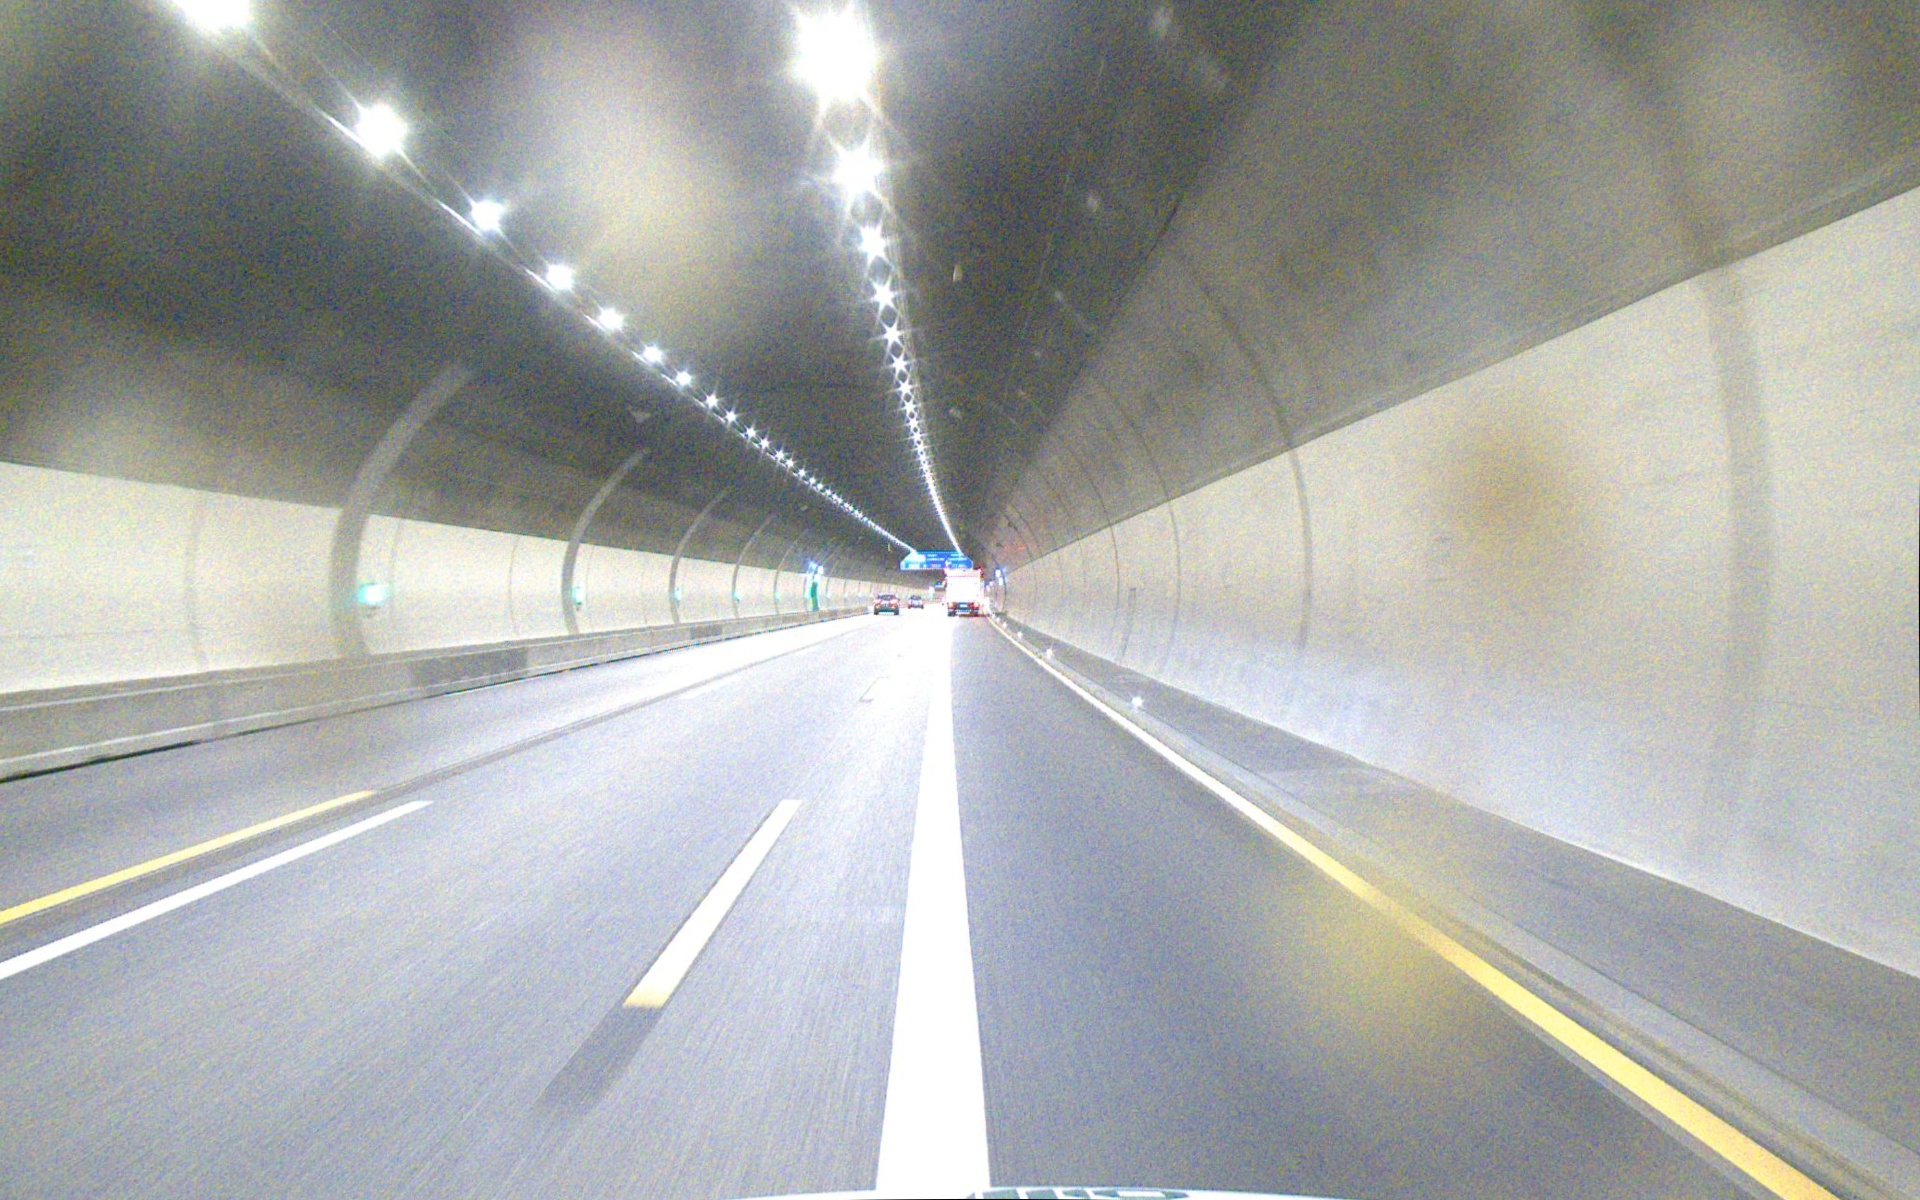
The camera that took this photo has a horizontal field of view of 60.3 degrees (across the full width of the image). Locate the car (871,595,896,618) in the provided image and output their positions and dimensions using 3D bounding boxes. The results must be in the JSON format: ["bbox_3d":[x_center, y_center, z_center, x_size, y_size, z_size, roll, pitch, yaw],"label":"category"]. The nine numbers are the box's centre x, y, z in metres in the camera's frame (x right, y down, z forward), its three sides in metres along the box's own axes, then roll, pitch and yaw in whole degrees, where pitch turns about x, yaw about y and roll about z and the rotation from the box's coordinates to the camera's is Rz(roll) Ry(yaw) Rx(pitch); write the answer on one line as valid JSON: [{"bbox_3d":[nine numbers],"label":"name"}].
[{"bbox_3d":[-5.763,0.477,125.512,1.776,1.646,3.999,1,0,-2],"label":"car"}]

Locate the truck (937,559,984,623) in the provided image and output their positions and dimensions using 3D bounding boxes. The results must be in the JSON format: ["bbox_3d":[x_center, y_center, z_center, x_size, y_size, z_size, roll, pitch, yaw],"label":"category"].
[{"bbox_3d":[-0.090,-0.687,130.948,3.212,4.731,17.281,0,0,-1],"label":"truck"}]

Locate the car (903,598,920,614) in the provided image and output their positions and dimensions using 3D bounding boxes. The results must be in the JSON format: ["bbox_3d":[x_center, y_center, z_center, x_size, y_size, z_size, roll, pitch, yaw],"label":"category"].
[{"bbox_3d":[-5.294,0.627,180.356,1.776,1.546,3.998,1,2,-3],"label":"car"}]

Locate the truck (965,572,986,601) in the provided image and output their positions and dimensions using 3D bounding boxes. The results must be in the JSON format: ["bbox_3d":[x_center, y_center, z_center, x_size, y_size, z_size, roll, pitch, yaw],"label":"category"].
[{"bbox_3d":[2.287,-1.998,249.193,2.863,4.118,14.027,0,0,-1],"label":"truck"}]
